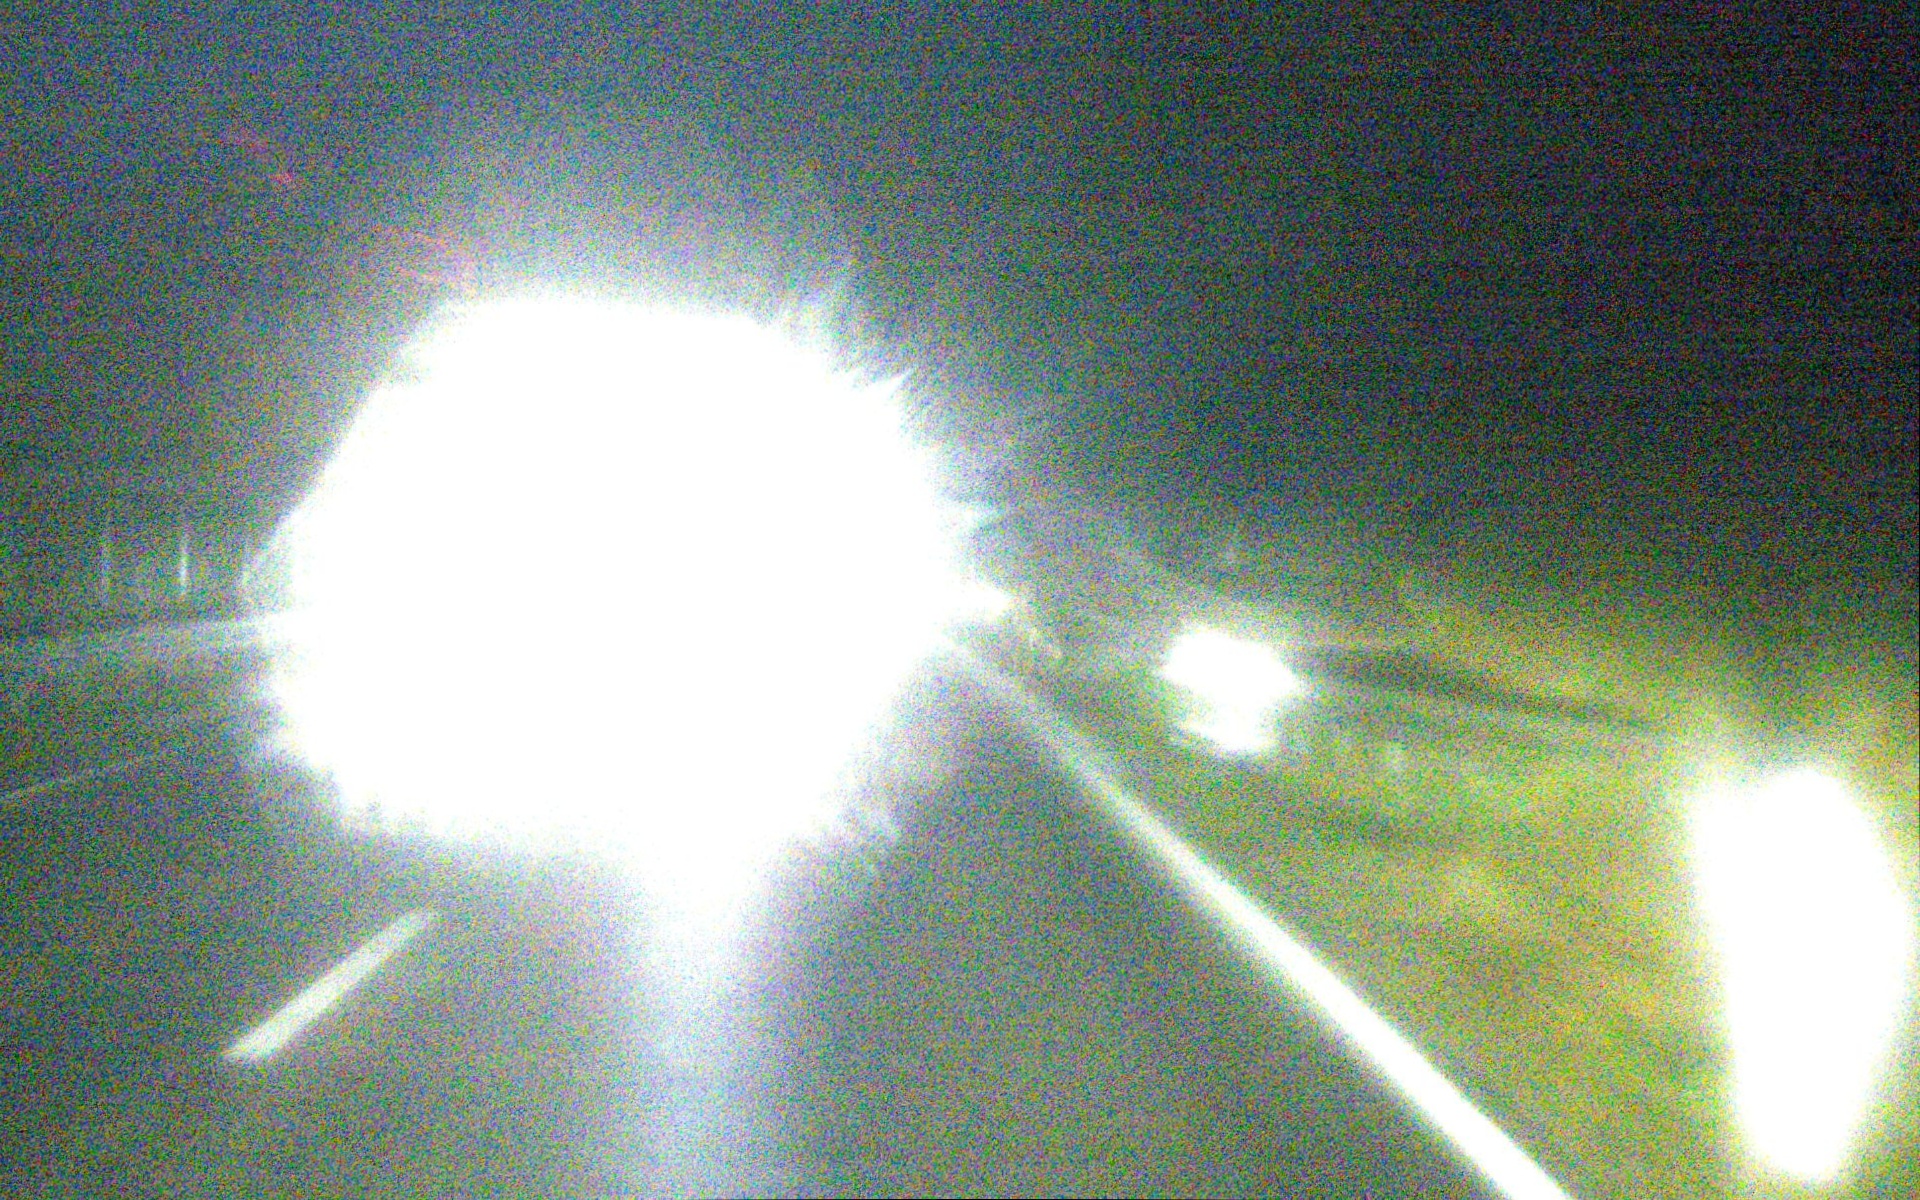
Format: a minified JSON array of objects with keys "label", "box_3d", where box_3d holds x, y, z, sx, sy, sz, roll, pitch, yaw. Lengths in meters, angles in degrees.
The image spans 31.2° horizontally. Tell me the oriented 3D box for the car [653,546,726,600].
[{"label":"car","box_3d":[-8.044,-0.816,102.419,1.993,1.495,4.001,1,2,-2]}]
